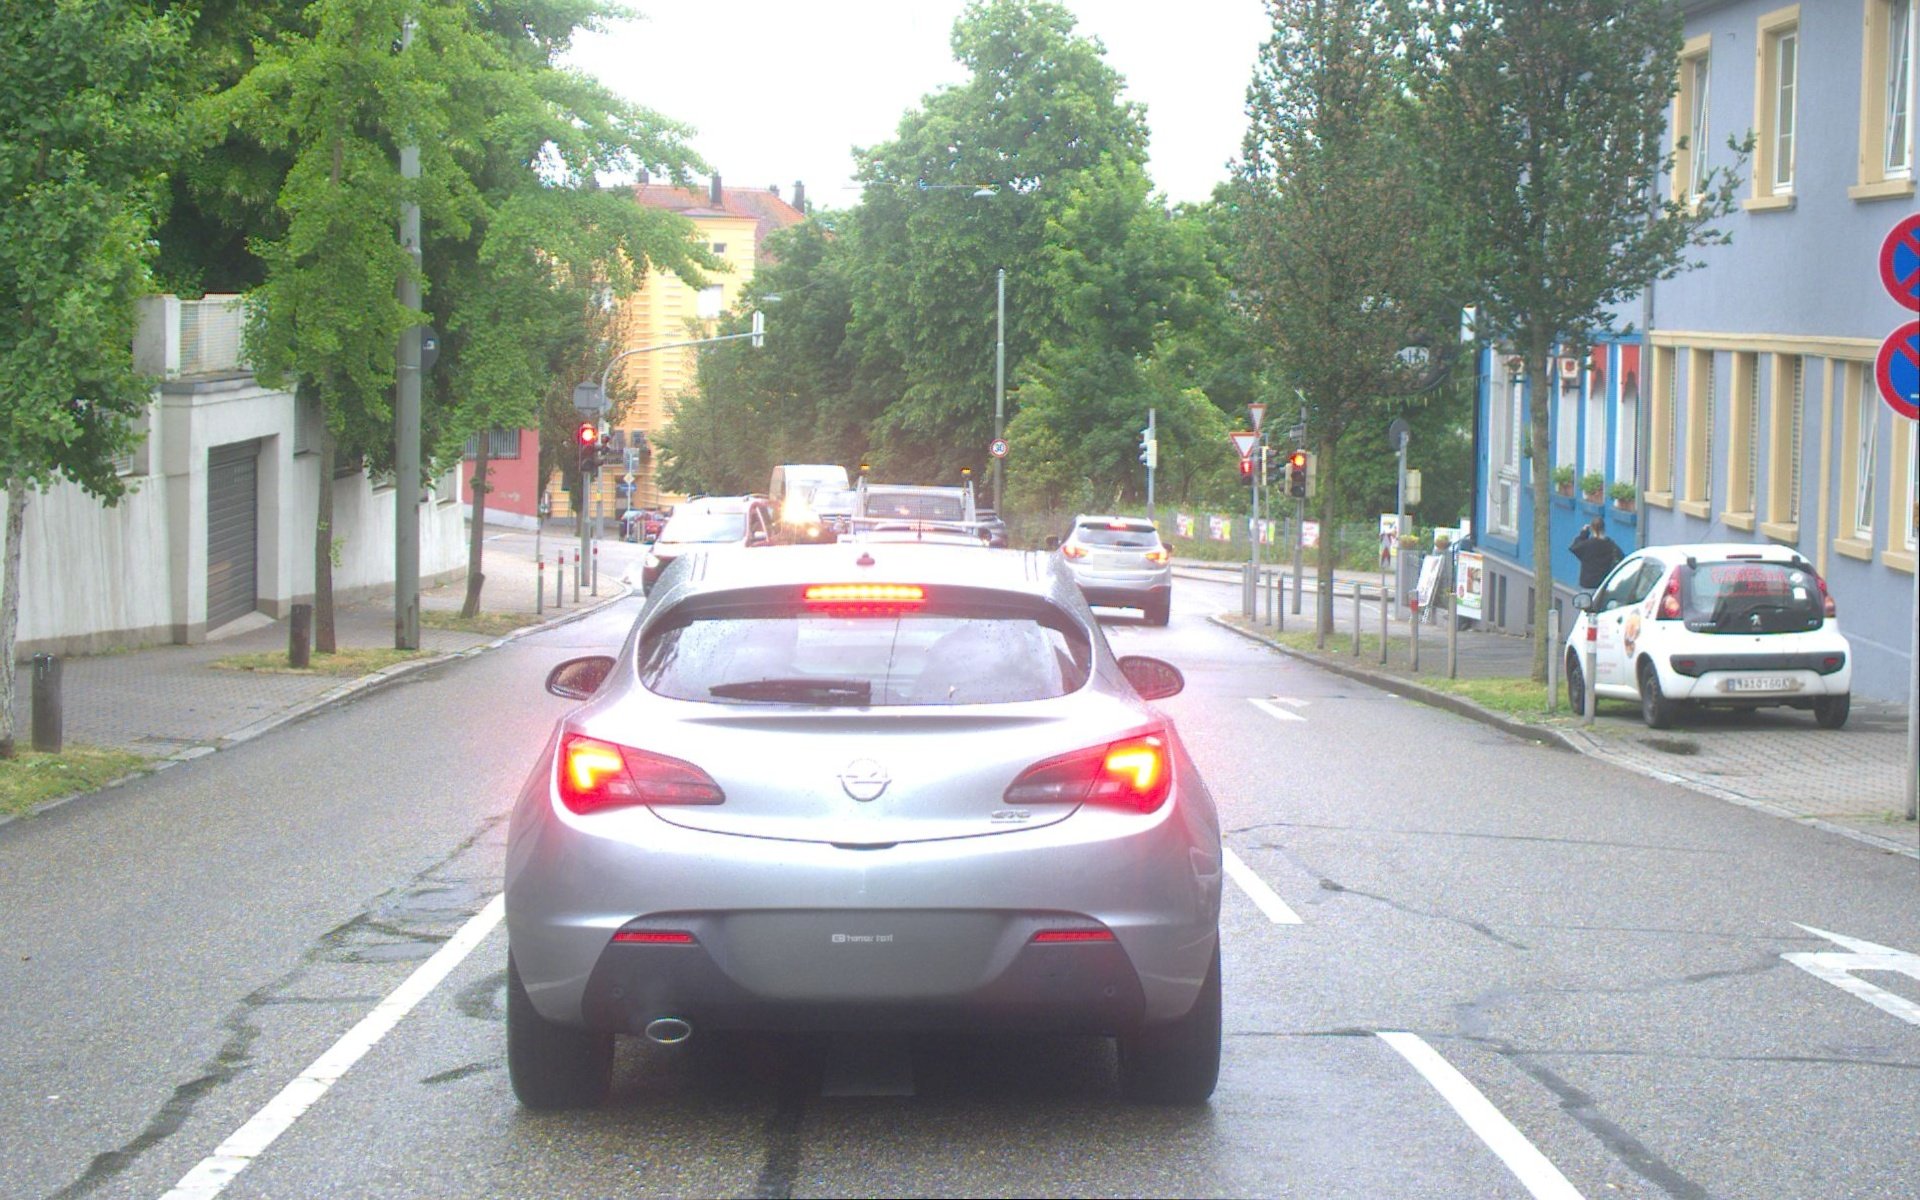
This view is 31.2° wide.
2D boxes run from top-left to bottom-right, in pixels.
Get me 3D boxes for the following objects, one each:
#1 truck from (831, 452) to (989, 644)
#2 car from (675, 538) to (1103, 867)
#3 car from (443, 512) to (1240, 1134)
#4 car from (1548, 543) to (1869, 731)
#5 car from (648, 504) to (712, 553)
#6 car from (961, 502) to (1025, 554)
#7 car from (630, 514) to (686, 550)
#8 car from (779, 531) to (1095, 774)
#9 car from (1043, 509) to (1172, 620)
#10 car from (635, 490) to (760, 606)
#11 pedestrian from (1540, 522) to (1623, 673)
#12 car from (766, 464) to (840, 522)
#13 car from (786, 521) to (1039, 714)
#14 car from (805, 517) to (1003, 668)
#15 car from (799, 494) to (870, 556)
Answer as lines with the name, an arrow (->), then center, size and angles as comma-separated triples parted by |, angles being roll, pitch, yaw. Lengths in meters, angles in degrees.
truck -> -0.726, -0.744, 47.089 | 1.962, 2.420, 4.936 | 2, 1, -2
car -> -0.399, 0.445, 18.340 | 1.962, 1.443, 4.306 | 2, 1, -2
car -> -0.357, 0.483, 9.970 | 1.837, 1.429, 3.880 | 1, 1, -2
car -> 6.159, 0.258, 28.698 | 1.722, 1.443, 3.880 | 0, 1, -2
car -> -8.400, -2.158, 103.495 | 1.722, 1.455, 3.880 | 0, 1, -2
car -> 1.025, -2.287, 108.890 | 1.722, 1.632, 3.880 | 0, 1, -4
car -> -13.895, -3.134, 158.096 | 1.722, 1.632, 3.881 | 0, 1, -18
car -> -0.211, 0.292, 24.060 | 1.962, 1.443, 4.306 | 2, 1, -2
car -> 2.329, -0.588, 55.124 | 1.722, 1.708, 3.880 | 0, 1, -2
car -> -4.307, -0.856, 56.925 | 1.746, 1.822, 4.459 | -1, 1, -1
pedestrian -> 7.277, -0.033, 40.271 | 0.783, 1.723, 0.651 | 2, 1, 0
car -> -4.607, -3.101, 100.217 | 1.722, 1.632, 3.881 | 0, 1, -9
car -> -0.441, 0.091, 29.438 | 1.962, 1.443, 4.306 | 2, 1, -2
car -> -0.638, -0.128, 37.097 | 1.962, 1.443, 4.306 | 2, 1, -2
car -> -3.373, -2.010, 92.597 | 1.870, 1.632, 3.880 | 0, 1, -2
